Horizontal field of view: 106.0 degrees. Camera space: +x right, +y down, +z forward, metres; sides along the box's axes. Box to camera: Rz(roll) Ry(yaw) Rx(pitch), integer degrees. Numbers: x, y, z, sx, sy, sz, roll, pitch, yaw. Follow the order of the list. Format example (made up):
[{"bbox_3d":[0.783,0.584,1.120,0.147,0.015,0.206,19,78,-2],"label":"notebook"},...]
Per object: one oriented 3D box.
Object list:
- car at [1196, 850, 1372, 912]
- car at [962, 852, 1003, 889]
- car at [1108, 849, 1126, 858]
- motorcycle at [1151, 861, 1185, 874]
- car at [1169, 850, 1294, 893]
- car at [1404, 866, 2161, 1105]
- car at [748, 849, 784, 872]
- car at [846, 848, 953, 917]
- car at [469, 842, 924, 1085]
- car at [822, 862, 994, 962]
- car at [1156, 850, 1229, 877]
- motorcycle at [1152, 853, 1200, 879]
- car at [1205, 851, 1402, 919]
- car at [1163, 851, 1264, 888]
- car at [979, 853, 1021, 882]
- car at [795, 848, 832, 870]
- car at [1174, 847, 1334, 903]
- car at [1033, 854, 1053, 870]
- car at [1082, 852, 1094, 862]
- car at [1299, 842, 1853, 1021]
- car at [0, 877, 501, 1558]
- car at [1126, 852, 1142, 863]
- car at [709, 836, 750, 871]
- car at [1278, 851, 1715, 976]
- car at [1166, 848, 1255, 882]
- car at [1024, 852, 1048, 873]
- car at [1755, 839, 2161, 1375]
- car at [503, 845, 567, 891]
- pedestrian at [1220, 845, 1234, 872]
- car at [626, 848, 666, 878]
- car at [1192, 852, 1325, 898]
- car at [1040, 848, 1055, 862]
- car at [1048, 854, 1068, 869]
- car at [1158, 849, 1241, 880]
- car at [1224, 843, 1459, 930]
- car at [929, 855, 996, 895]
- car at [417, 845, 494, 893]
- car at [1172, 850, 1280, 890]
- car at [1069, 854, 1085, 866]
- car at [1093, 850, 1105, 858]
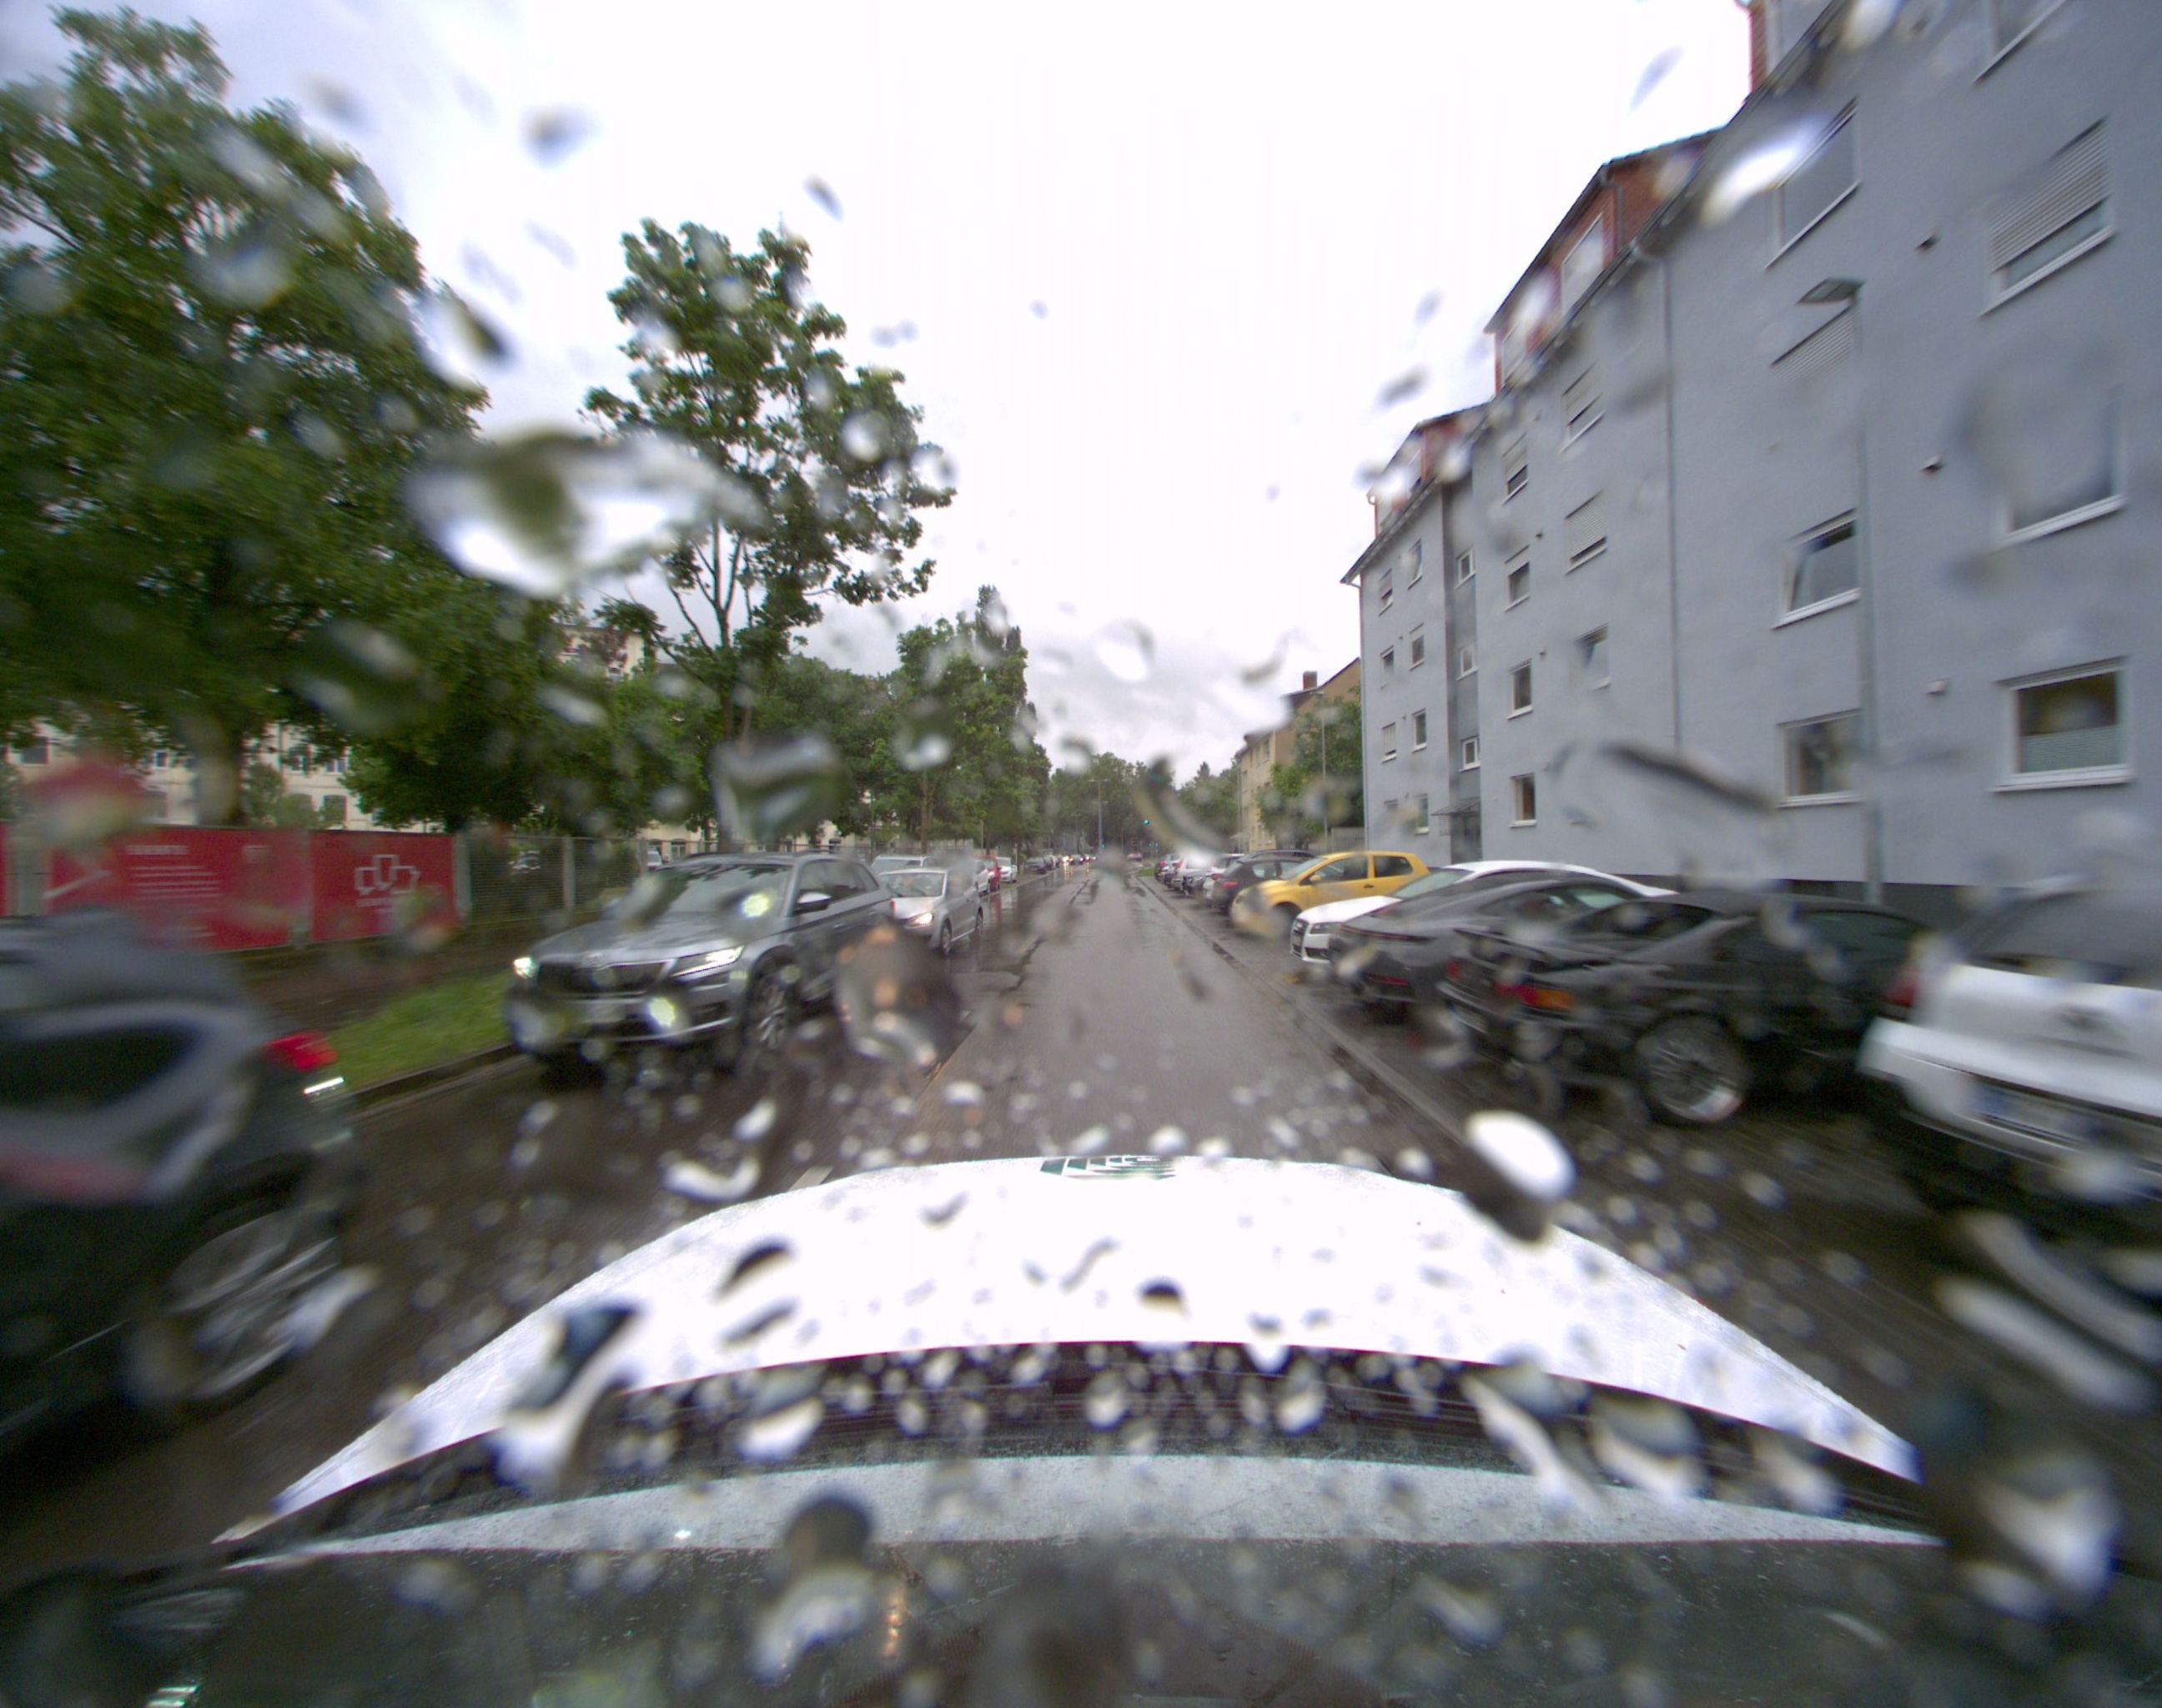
[{"bbox_3d":[5.111,0.662,20.951,4.080,1.458,2.002,-1,0,3],"label":"car"},{"bbox_3d":[-4.423,0.709,37.099,1.622,1.598,4.195,0,0,-4],"label":"car"},{"bbox_3d":[6.104,-0.049,138.170,1.853,1.524,4.132,-1,0,-15],"label":"car"},{"bbox_3d":[5.450,0.857,50.903,2.061,0.792,0.712,0,0,8],"label":"motorcycle"},{"bbox_3d":[5.307,0.613,29.052,4.246,1.454,1.988,0,1,7],"label":"car"},{"bbox_3d":[4.390,0.727,5.308,3.837,1.207,1.958,-1,0,3],"label":"car"},{"bbox_3d":[-20.686,0.409,53.399,1.715,1.434,3.615,0,0,-30],"label":"car"},{"bbox_3d":[-4.948,0.700,22.819,1.769,1.680,4.603,1,1,2],"label":"car"},{"bbox_3d":[-3.087,0.752,7.934,1.906,1.639,4.825,0,0,3],"label":"car"},{"bbox_3d":[-2.752,0.869,13.971,1.664,1.383,4.258,-1,0,5],"label":"car"},{"bbox_3d":[6.287,0.549,46.260,3.971,1.461,1.936,0,0,2],"label":"car"},{"bbox_3d":[5.061,0.637,43.407,2.393,1.324,0.918,0,0,-3],"label":"motorcycle"},{"bbox_3d":[4.902,0.671,18.347,3.973,1.442,1.782,0,0,1],"label":"car"},{"bbox_3d":[5.443,0.612,33.826,3.972,1.466,1.782,0,0,1],"label":"car"},{"bbox_3d":[-4.462,0.730,45.422,1.762,1.528,4.599,0,0,1],"label":"car"},{"bbox_3d":[-18.135,0.326,55.152,1.715,1.434,3.615,0,0,-30],"label":"car"},{"bbox_3d":[5.018,0.601,24.093,4.326,1.552,2.040,0,0,1],"label":"car"},{"bbox_3d":[-3.720,0.754,80.255,1.923,1.484,3.998,-2,0,-1],"label":"car"},{"bbox_3d":[1.186,0.499,135.737,1.737,1.689,3.993,0,0,-5],"label":"car"},{"bbox_3d":[4.417,0.659,7.850,4.128,1.486,2.013,0,0,1],"label":"car"},{"bbox_3d":[-3.265,0.842,1.089,1.772,1.420,4.267,-2,0,2],"label":"car"},{"bbox_3d":[8.035,0.507,123.775,1.846,1.524,3.994,-1,0,-4],"label":"car"},{"bbox_3d":[-22.611,-0.020,52.337,2.006,2.122,3.961,0,0,-30],"label":"car"},{"bbox_3d":[5.035,0.695,10.459,4.608,1.436,2.002,0,0,3],"label":"car"},{"bbox_3d":[6.141,0.518,38.923,3.974,1.552,1.905,0,0,0],"label":"car"},{"bbox_3d":[-3.633,0.653,65.443,1.773,1.530,3.993,0,2,-5],"label":"car"},{"bbox_3d":[4.850,0.660,2.636,3.842,1.454,1.836,-1,0,-1],"label":"car"},{"bbox_3d":[-20.130,0.513,30.067,1.858,1.573,3.958,0,-1,-34],"label":"car"},{"bbox_3d":[11.156,0.335,62.071,1.004,2.014,0.955,0,-1,11],"label":"pedestrian"},{"bbox_3d":[-26.975,0.527,50.442,1.942,1.785,3.960,0,0,-32],"label":"car"},{"bbox_3d":[5.729,0.676,26.623,3.972,1.411,1.846,0,0,1],"label":"car"},{"bbox_3d":[-7.824,0.216,191.297,2.227,3.237,4.639,0,0,-19],"label":"car"},{"bbox_3d":[-2.711,0.901,96.834,1.918,1.731,4.004,0,0,4],"label":"car"},{"bbox_3d":[5.993,0.534,41.479,3.976,1.490,1.861,0,0,-2],"label":"car"},{"bbox_3d":[4.906,0.596,15.736,3.974,1.552,1.852,0,0,0],"label":"car"},{"bbox_3d":[-4.529,0.782,31.728,1.653,1.460,4.179,0,0,5],"label":"car"},{"bbox_3d":[-21.987,0.534,28.695,2.009,1.557,3.955,-1,-1,-37],"label":"car"},{"bbox_3d":[5.538,0.612,31.550,3.969,1.474,1.804,0,0,4],"label":"car"},{"bbox_3d":[-0.524,0.781,107.357,1.988,1.486,3.998,0,0,-1],"label":"car"},{"bbox_3d":[3.398,0.044,153.927,1.848,1.524,3.990,-1,0,-7],"label":"car"}]
